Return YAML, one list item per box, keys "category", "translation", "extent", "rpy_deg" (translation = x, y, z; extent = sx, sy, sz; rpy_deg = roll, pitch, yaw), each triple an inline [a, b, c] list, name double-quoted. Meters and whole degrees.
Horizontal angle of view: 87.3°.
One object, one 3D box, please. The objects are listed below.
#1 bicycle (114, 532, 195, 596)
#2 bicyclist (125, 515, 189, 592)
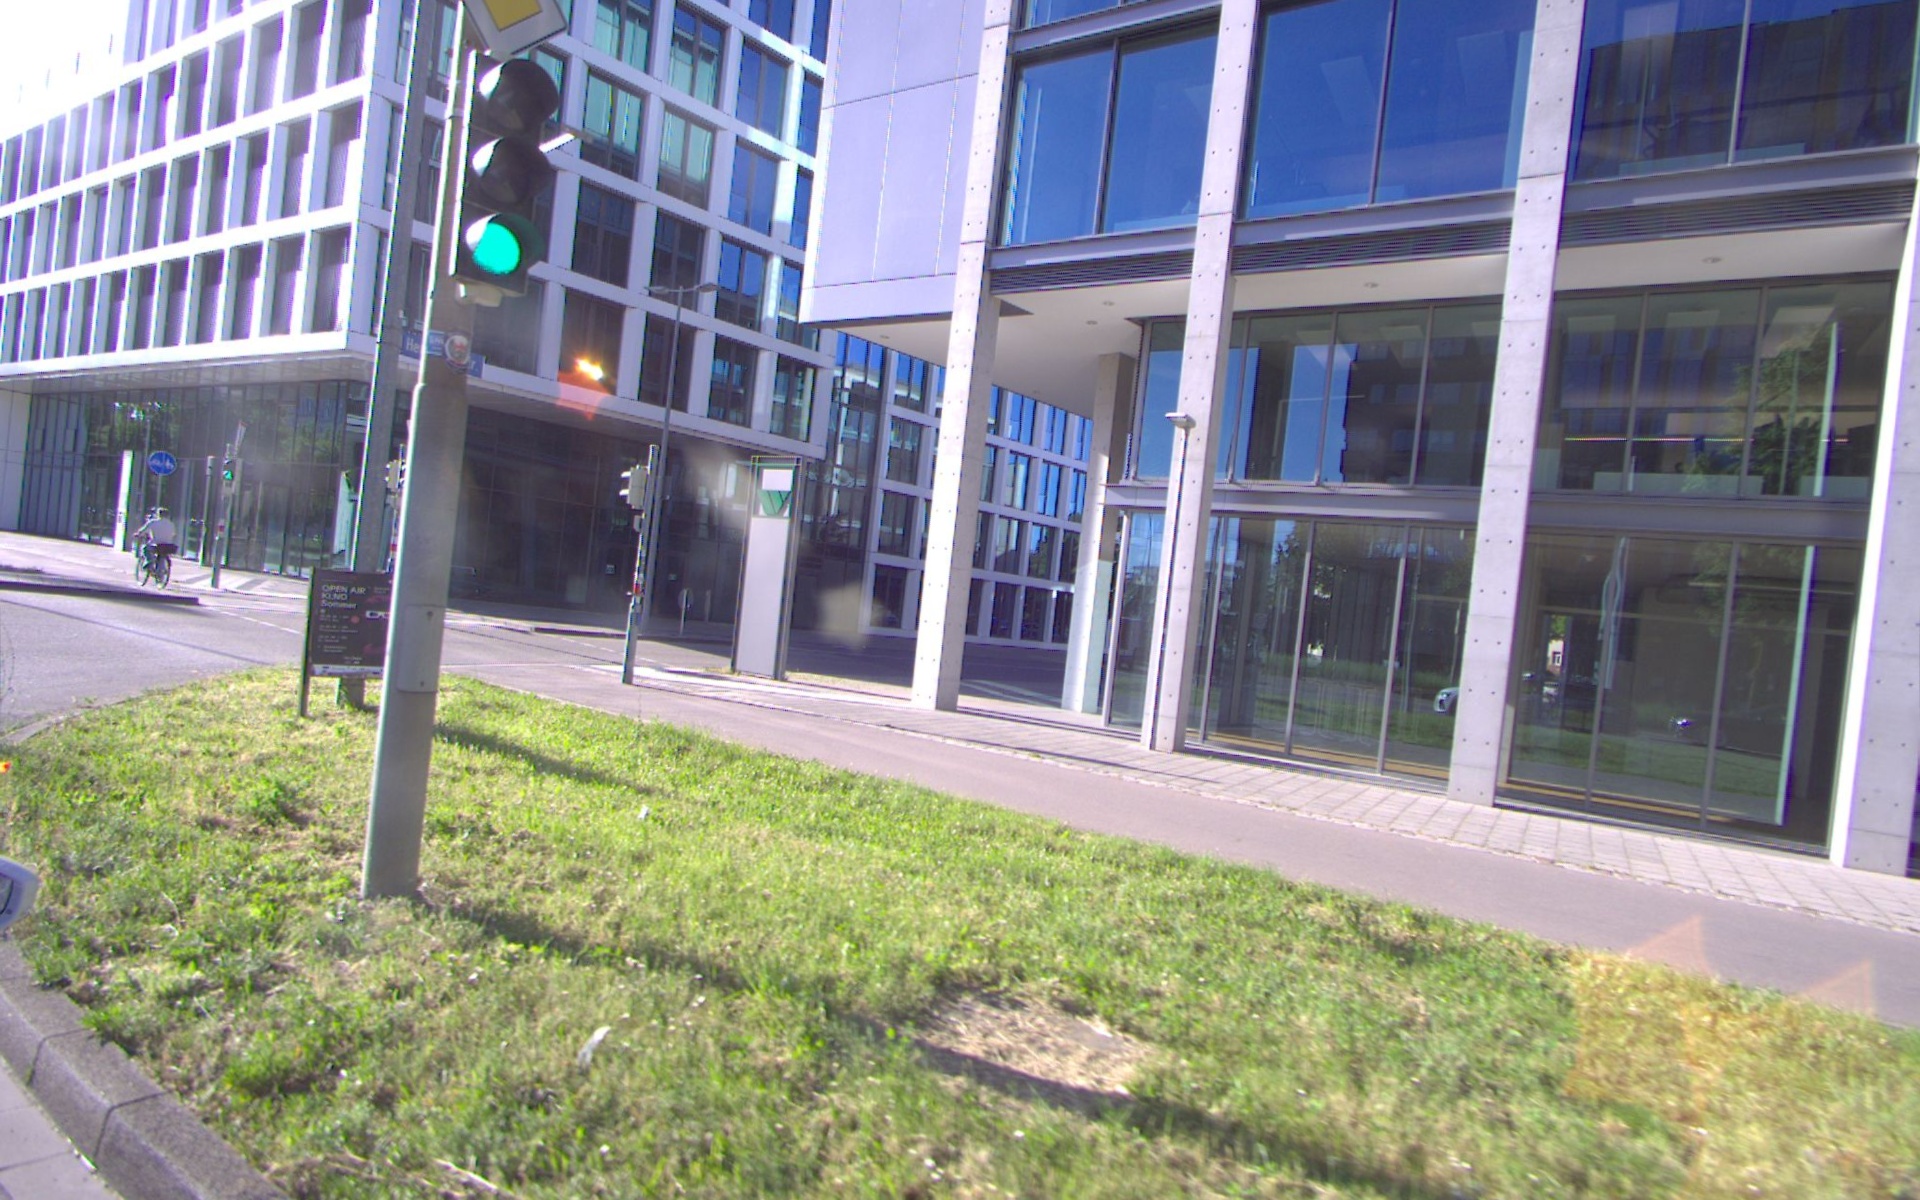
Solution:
- category: "bicycle"
  translation: [-17.685, -0.799, 22.067]
  extent: [1.929, 1.188, 0.742]
  rpy_deg: [6, 0, 33]
- category: "bicyclist"
  translation: [-17.562, -1.011, 22.010]
  extent: [0.836, 1.550, 0.772]
  rpy_deg: [6, 1, 32]
